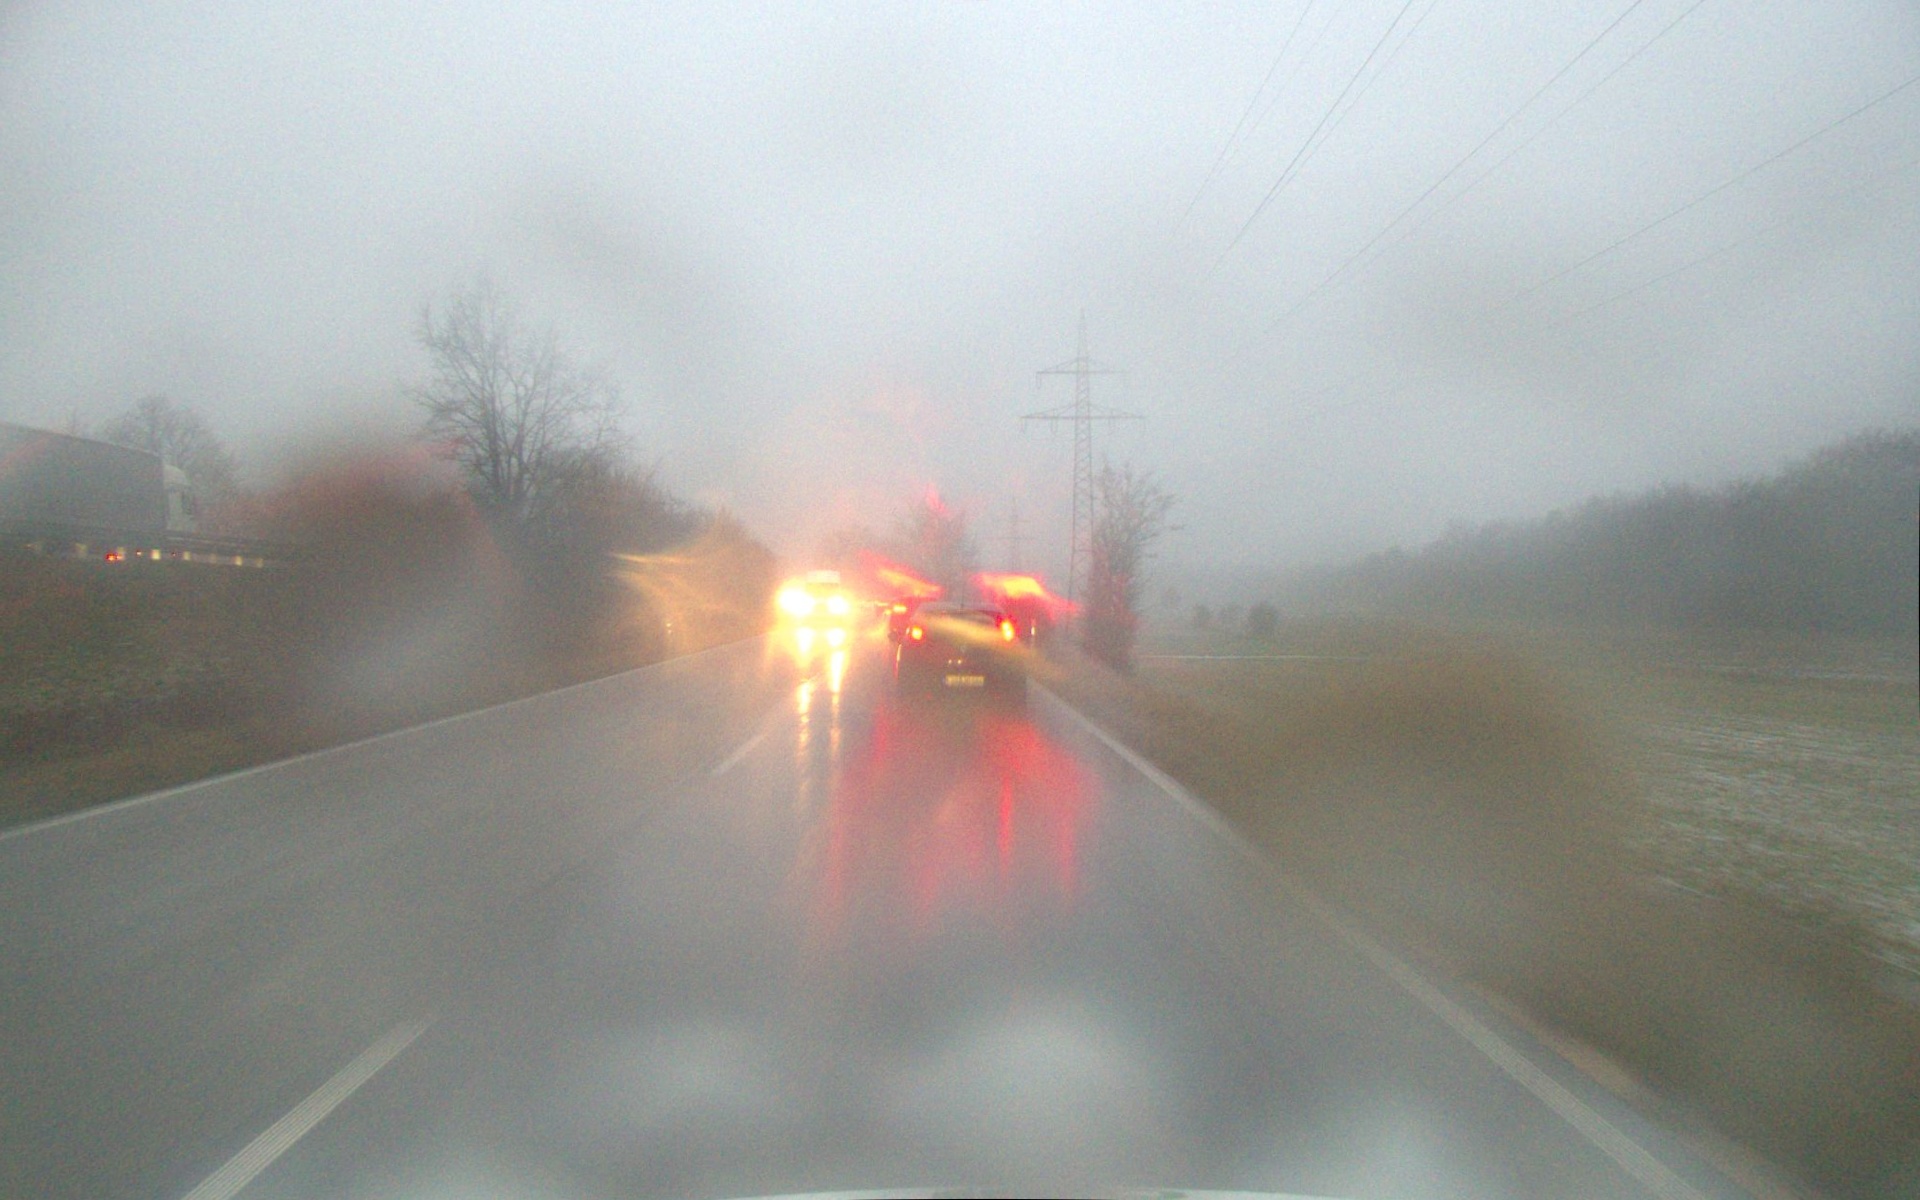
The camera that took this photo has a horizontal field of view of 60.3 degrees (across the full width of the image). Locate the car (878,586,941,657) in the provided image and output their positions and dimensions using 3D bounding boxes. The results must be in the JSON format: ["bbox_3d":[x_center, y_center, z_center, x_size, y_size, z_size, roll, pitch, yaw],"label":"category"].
[{"bbox_3d":[-1.584,0.642,50.612,1.815,2.049,3.998,1,0,-3],"label":"car"}]

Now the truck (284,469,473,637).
[{"bbox_3d":[-33.333,-2.216,98.084,7.419,7.848,39.984,1,0,-15],"label":"truck"}]

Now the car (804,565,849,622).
[{"bbox_3d":[-6.616,-0.322,82.741,1.914,2.721,6.269,1,0,-2],"label":"car"}]

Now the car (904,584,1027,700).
[{"bbox_3d":[0.019,0.524,22.218,1.470,1.423,3.198,1,0,-3],"label":"car"}]

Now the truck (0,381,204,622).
[{"bbox_3d":[-27.562,-2.629,48.835,3.688,6.398,15.731,1,0,-2],"label":"truck"}]
